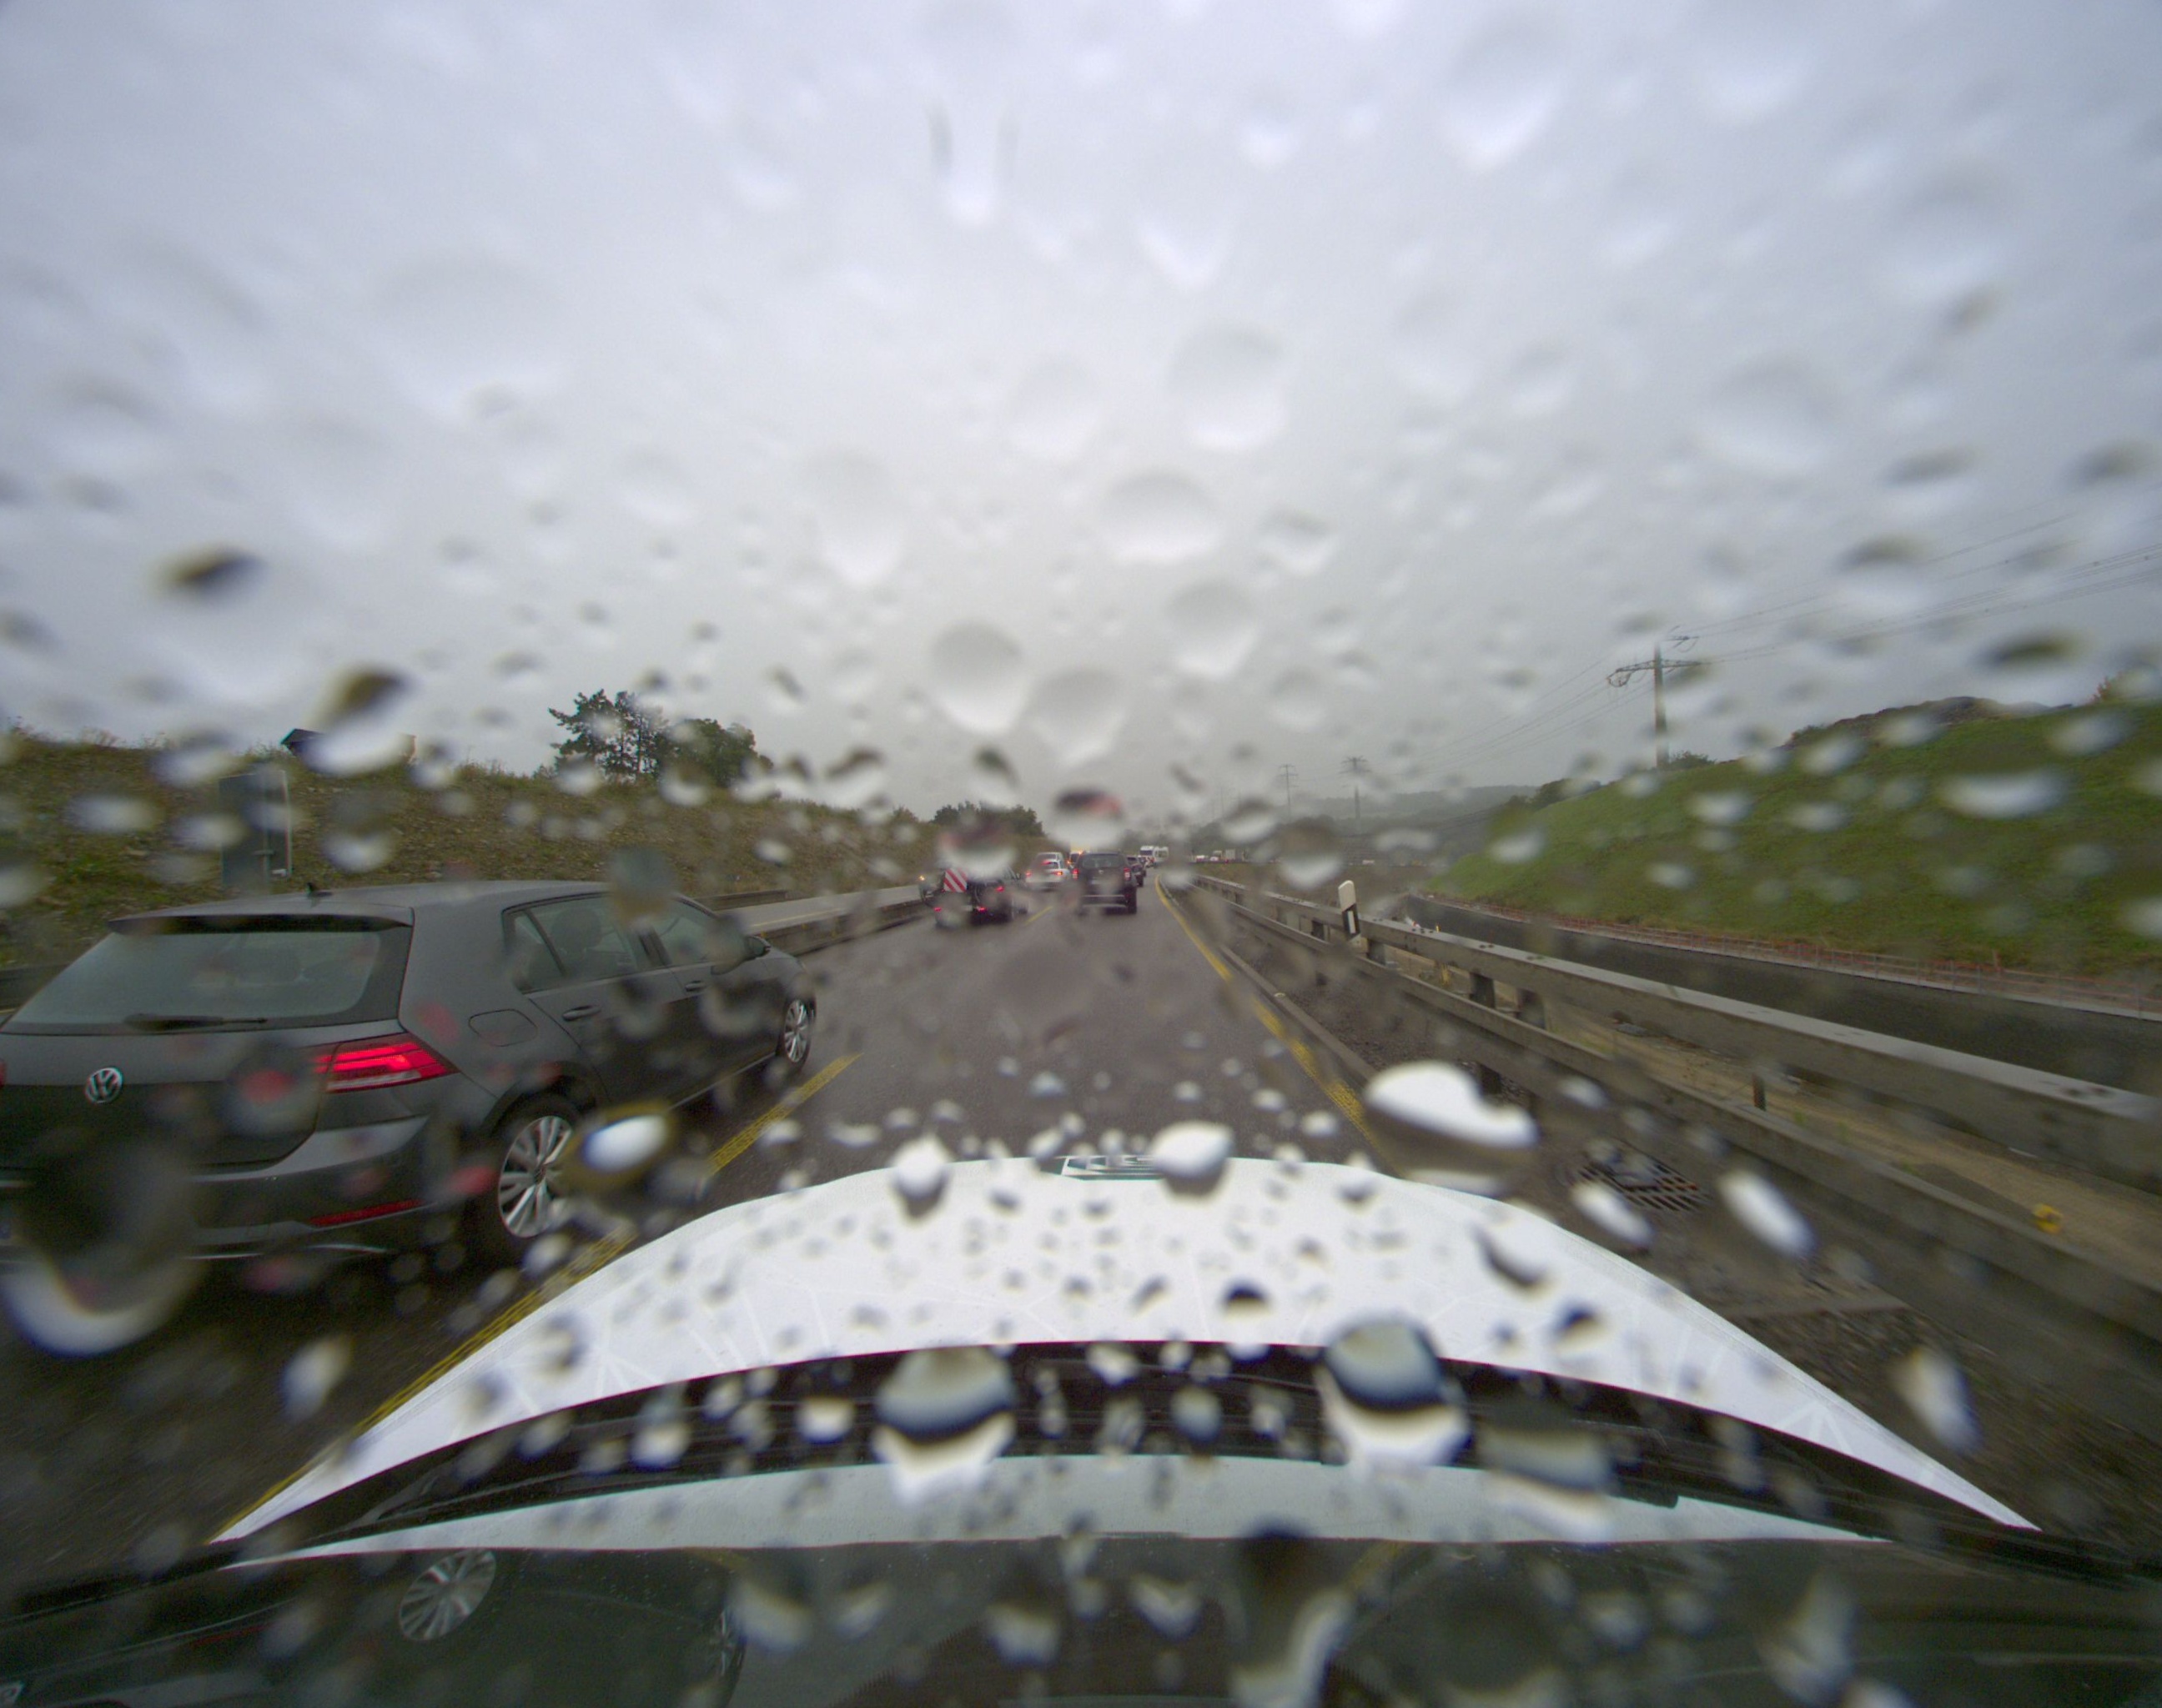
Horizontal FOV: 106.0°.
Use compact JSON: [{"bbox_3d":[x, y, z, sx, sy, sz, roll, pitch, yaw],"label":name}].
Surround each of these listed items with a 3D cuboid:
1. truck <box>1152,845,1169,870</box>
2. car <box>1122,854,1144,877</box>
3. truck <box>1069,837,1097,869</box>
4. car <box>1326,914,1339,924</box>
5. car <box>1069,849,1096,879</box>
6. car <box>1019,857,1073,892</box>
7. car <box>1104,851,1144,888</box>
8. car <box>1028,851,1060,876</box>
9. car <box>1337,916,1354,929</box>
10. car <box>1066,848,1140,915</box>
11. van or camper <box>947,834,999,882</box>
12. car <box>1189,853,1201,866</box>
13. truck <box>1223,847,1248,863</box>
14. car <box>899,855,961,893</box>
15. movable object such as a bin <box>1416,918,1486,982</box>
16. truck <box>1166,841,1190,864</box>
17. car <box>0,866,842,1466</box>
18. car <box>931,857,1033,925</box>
[{"bbox_3d":[10.490,0.427,106.836,2.138,3.166,6.471,0,0,6],"label":"truck"},{"bbox_3d":[3.816,0.816,59.558,1.524,1.640,4.017,0,0,4],"label":"car"},{"bbox_3d":[0.328,-0.086,105.941,2.754,3.996,8.438,-1,0,7],"label":"truck"},{"bbox_3d":[53.604,13.842,173.662,1.982,1.816,4.009,-1,-1,8],"label":"car"},{"bbox_3d":[0.139,0.655,53.693,1.654,1.880,4.021,0,0,2],"label":"car"},{"bbox_3d":[-1.519,0.873,37.125,1.859,1.460,4.554,0,0,5],"label":"car"},{"bbox_3d":[2.158,0.733,40.285,1.859,1.708,4.004,0,0,4],"label":"car"},{"bbox_3d":[-2.816,0.705,63.784,1.992,1.887,5.278,0,0,3],"label":"car"},{"bbox_3d":[50.792,13.143,156.259,2.353,2.013,4.007,0,0,6],"label":"car"},{"bbox_3d":[0.679,0.700,22.111,1.796,1.646,3.780,-1,0,4],"label":"car"},{"bbox_3d":[-6.680,0.224,51.089,2.091,2.818,5.948,0,0,3],"label":"van or camper"},{"bbox_3d":[18.086,0.874,128.736,1.764,1.916,4.010,0,0,9],"label":"car"},{"bbox_3d":[42.438,0.279,223.453,4.679,4.150,15.755,0,0,18],"label":"truck"},{"bbox_3d":[-6.423,0.825,35.113,1.707,1.536,4.049,0,0,3],"label":"car"},{"bbox_3d":[26.162,6.723,57.802,3.200,3.867,4.126,1,1,3],"label":"movable object such as a bin"},{"bbox_3d":[15.973,-0.239,133.602,3.179,3.761,8.536,0,0,12],"label":"truck"},{"bbox_3d":[-2.810,0.875,4.351,1.608,1.506,4.370,-2,0,2],"label":"car"},{"bbox_3d":[-2.302,0.832,19.872,1.821,1.476,3.779,-1,0,3],"label":"car"}]
